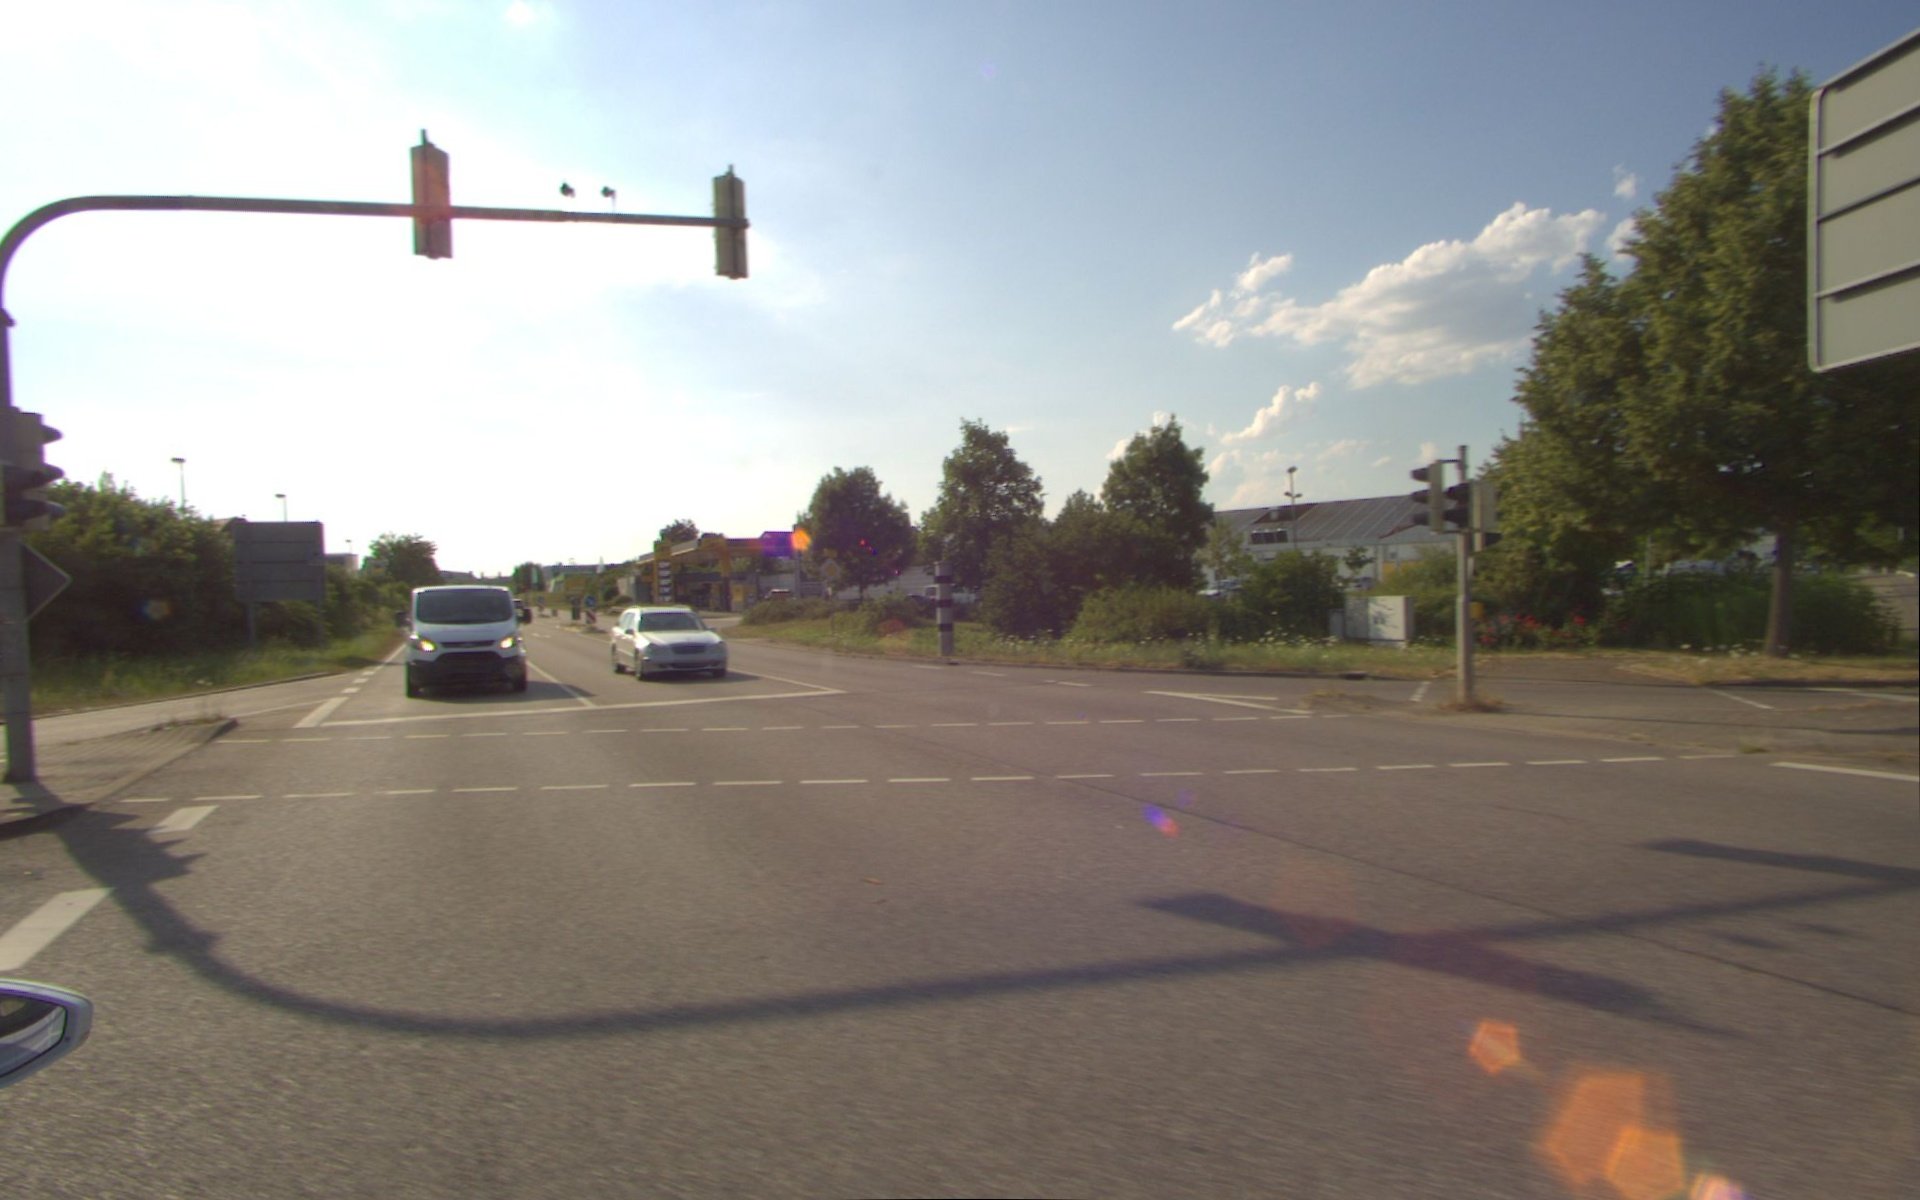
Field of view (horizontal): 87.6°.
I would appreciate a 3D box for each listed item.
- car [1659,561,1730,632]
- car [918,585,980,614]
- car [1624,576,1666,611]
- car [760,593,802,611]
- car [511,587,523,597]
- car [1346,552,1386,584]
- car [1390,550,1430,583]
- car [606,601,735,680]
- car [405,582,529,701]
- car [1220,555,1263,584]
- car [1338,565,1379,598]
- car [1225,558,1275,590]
[{"bbox_3d":[28.475,-0.075,38.733,1.976,2.539,5.101,-1,-1,39],"label":"car"},{"bbox_3d":[-0.778,0.008,76.334,1.978,2.039,4.892,-1,-2,41],"label":"car"},{"bbox_3d":[33.935,-0.290,49.657,1.585,1.601,3.569,-1,-1,32],"label":"car"},{"bbox_3d":[-16.253,0.210,90.584,2.257,1.392,4.834,0,-2,-29],"label":"car"},{"bbox_3d":[-93.135,-1.648,210.469,1.972,2.040,3.978,0,-1,-31],"label":"car"},{"bbox_3d":[28.925,-2.244,71.303,1.931,2.040,3.979,-1,-1,32],"label":"car"},{"bbox_3d":[31.482,-2.322,70.019,2.041,2.039,3.979,-1,-1,33],"label":"car"},{"bbox_3d":[-6.535,0.852,22.190,1.835,1.533,4.932,0,-1,-27],"label":"car"},{"bbox_3d":[-9.528,0.668,19.145,1.879,1.974,4.793,0,1,-29],"label":"car"},{"bbox_3d":[21.886,-2.352,77.770,1.973,2.040,3.976,-1,-1,35],"label":"car"},{"bbox_3d":[26.763,-1.237,67.150,1.699,2.040,3.976,-1,-1,35],"label":"car"},{"bbox_3d":[20.707,-1.841,71.387,2.287,2.040,3.976,-1,-1,35],"label":"car"}]
